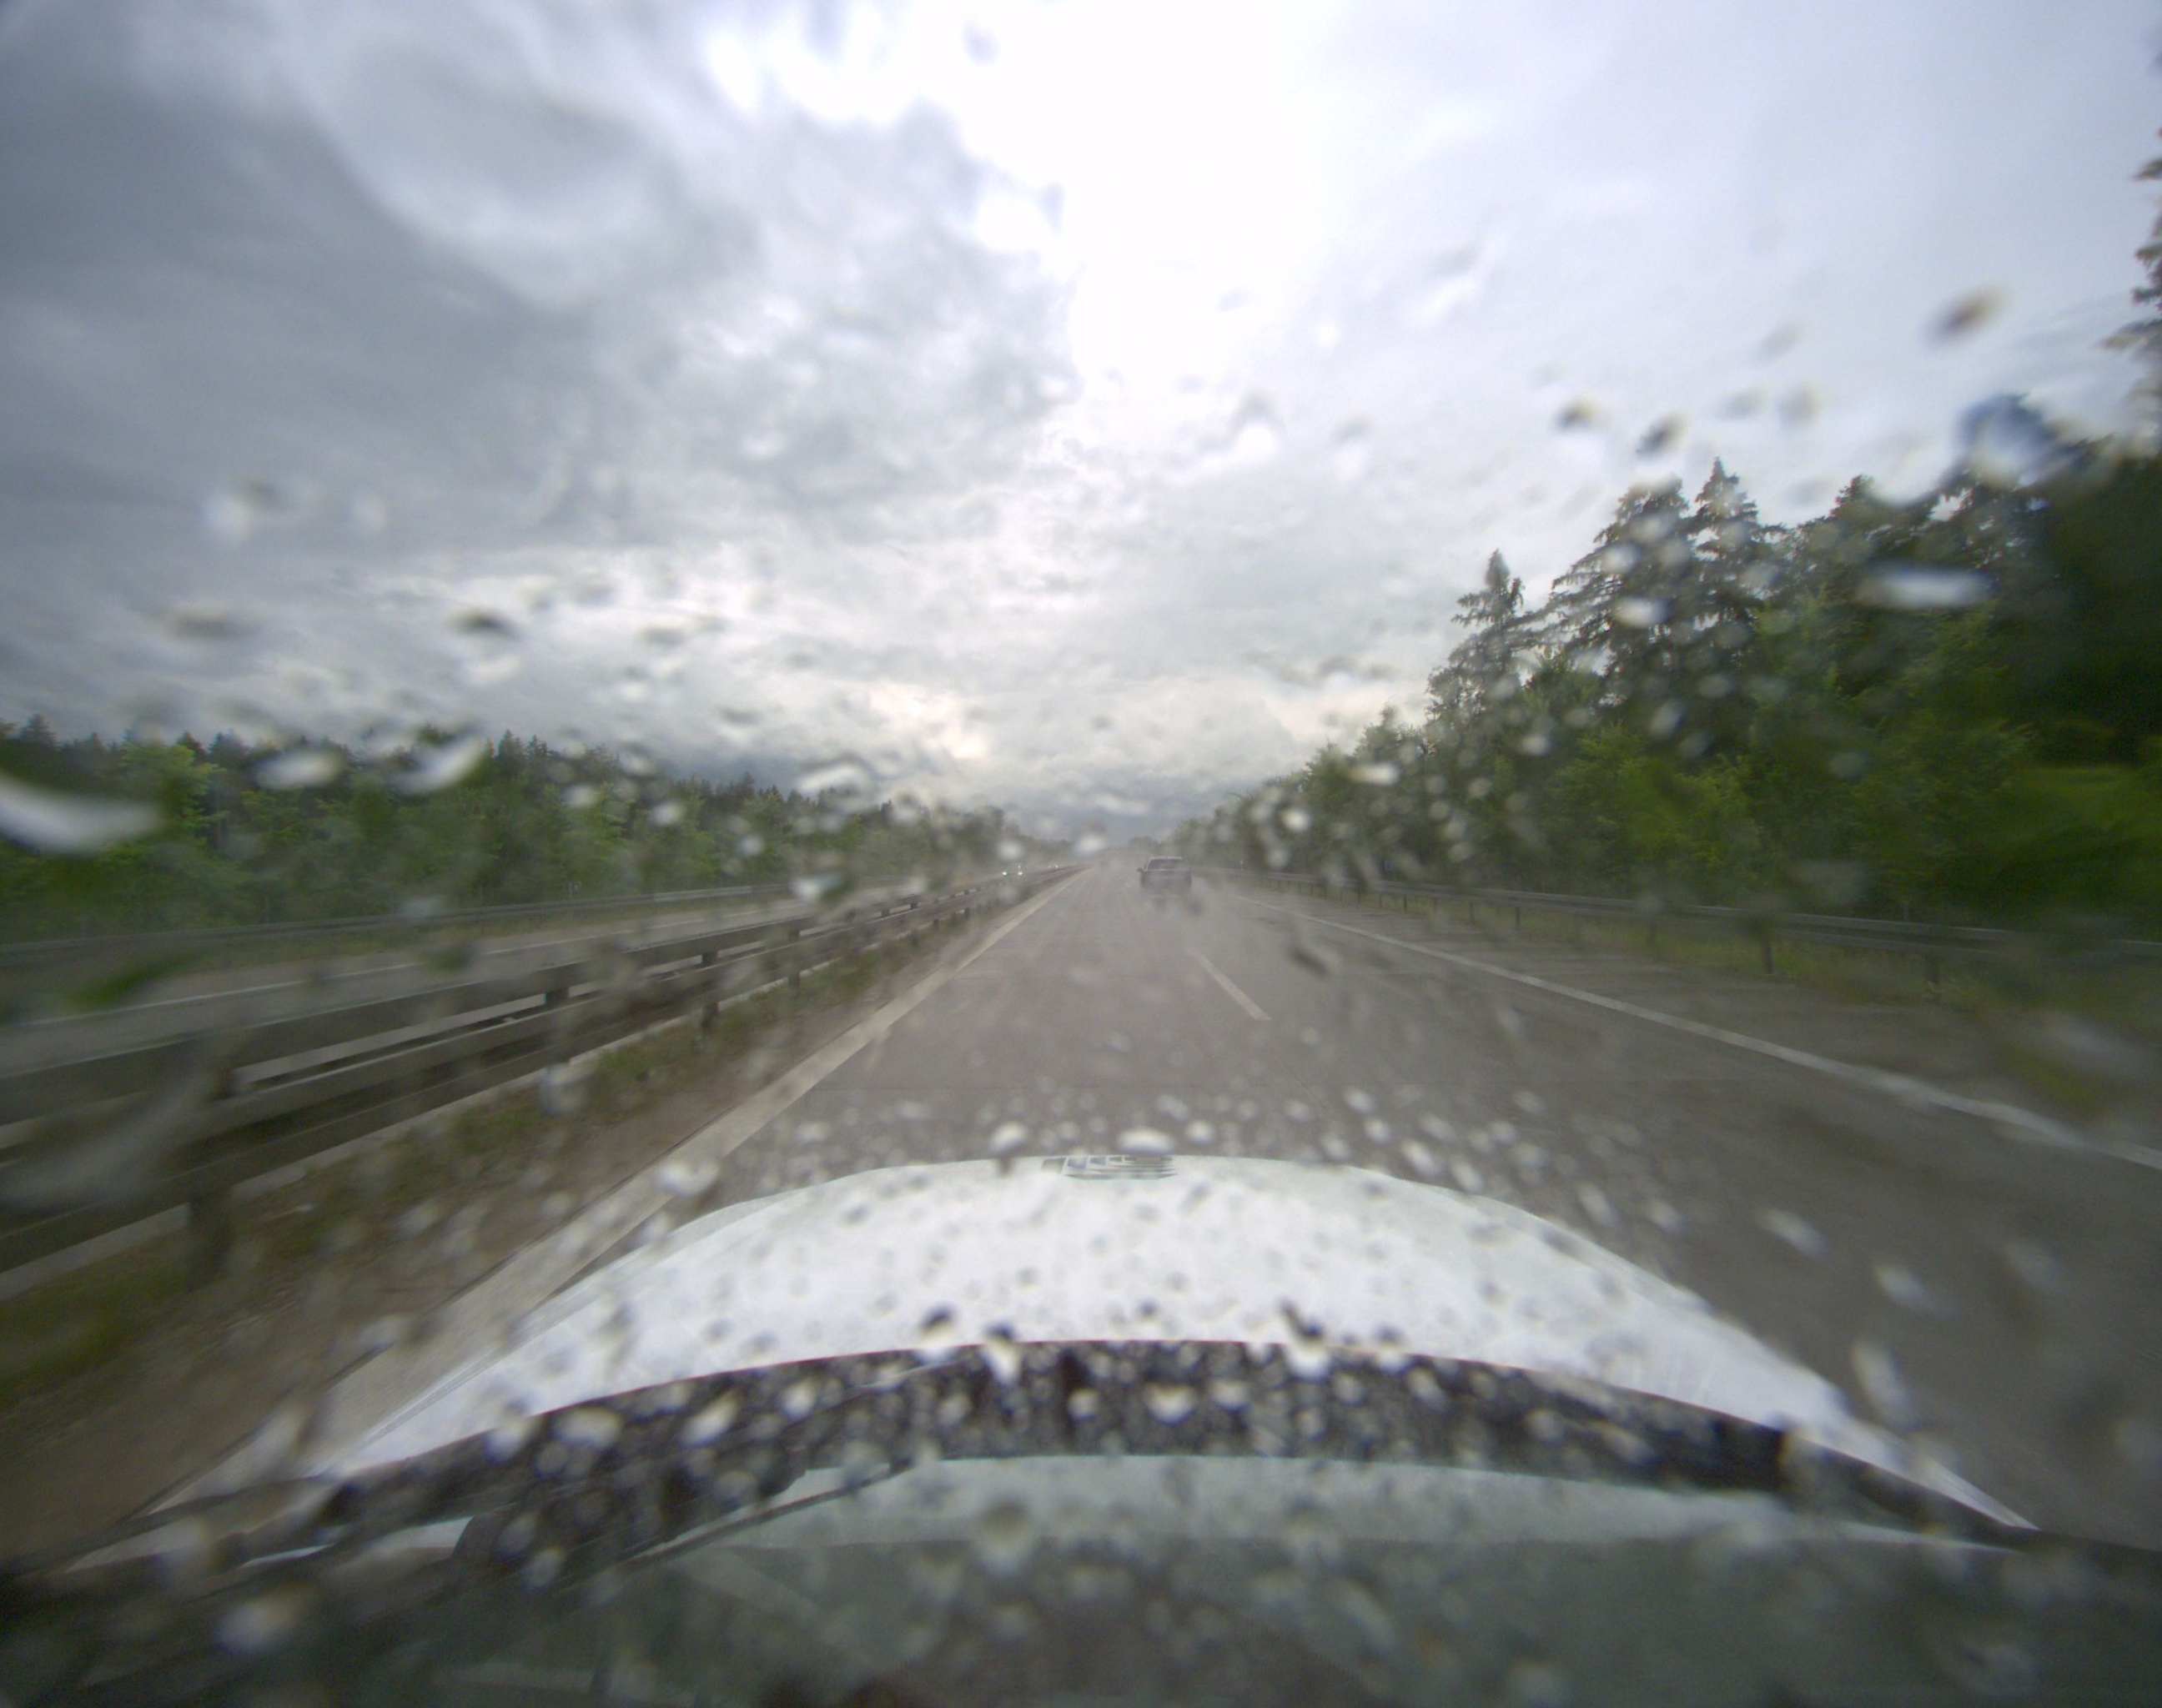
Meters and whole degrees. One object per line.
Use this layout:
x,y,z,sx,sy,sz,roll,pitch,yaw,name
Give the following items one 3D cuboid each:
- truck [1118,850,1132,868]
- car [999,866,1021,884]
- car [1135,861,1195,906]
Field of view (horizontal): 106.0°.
11.527,1.334,211.369,3.228,4.437,8.255,-2,-1,5,truck
-6.155,1.830,70.810,1.514,1.403,3.931,-2,0,1,car
3.079,1.091,30.499,1.888,1.576,3.631,-1,-2,0,car
